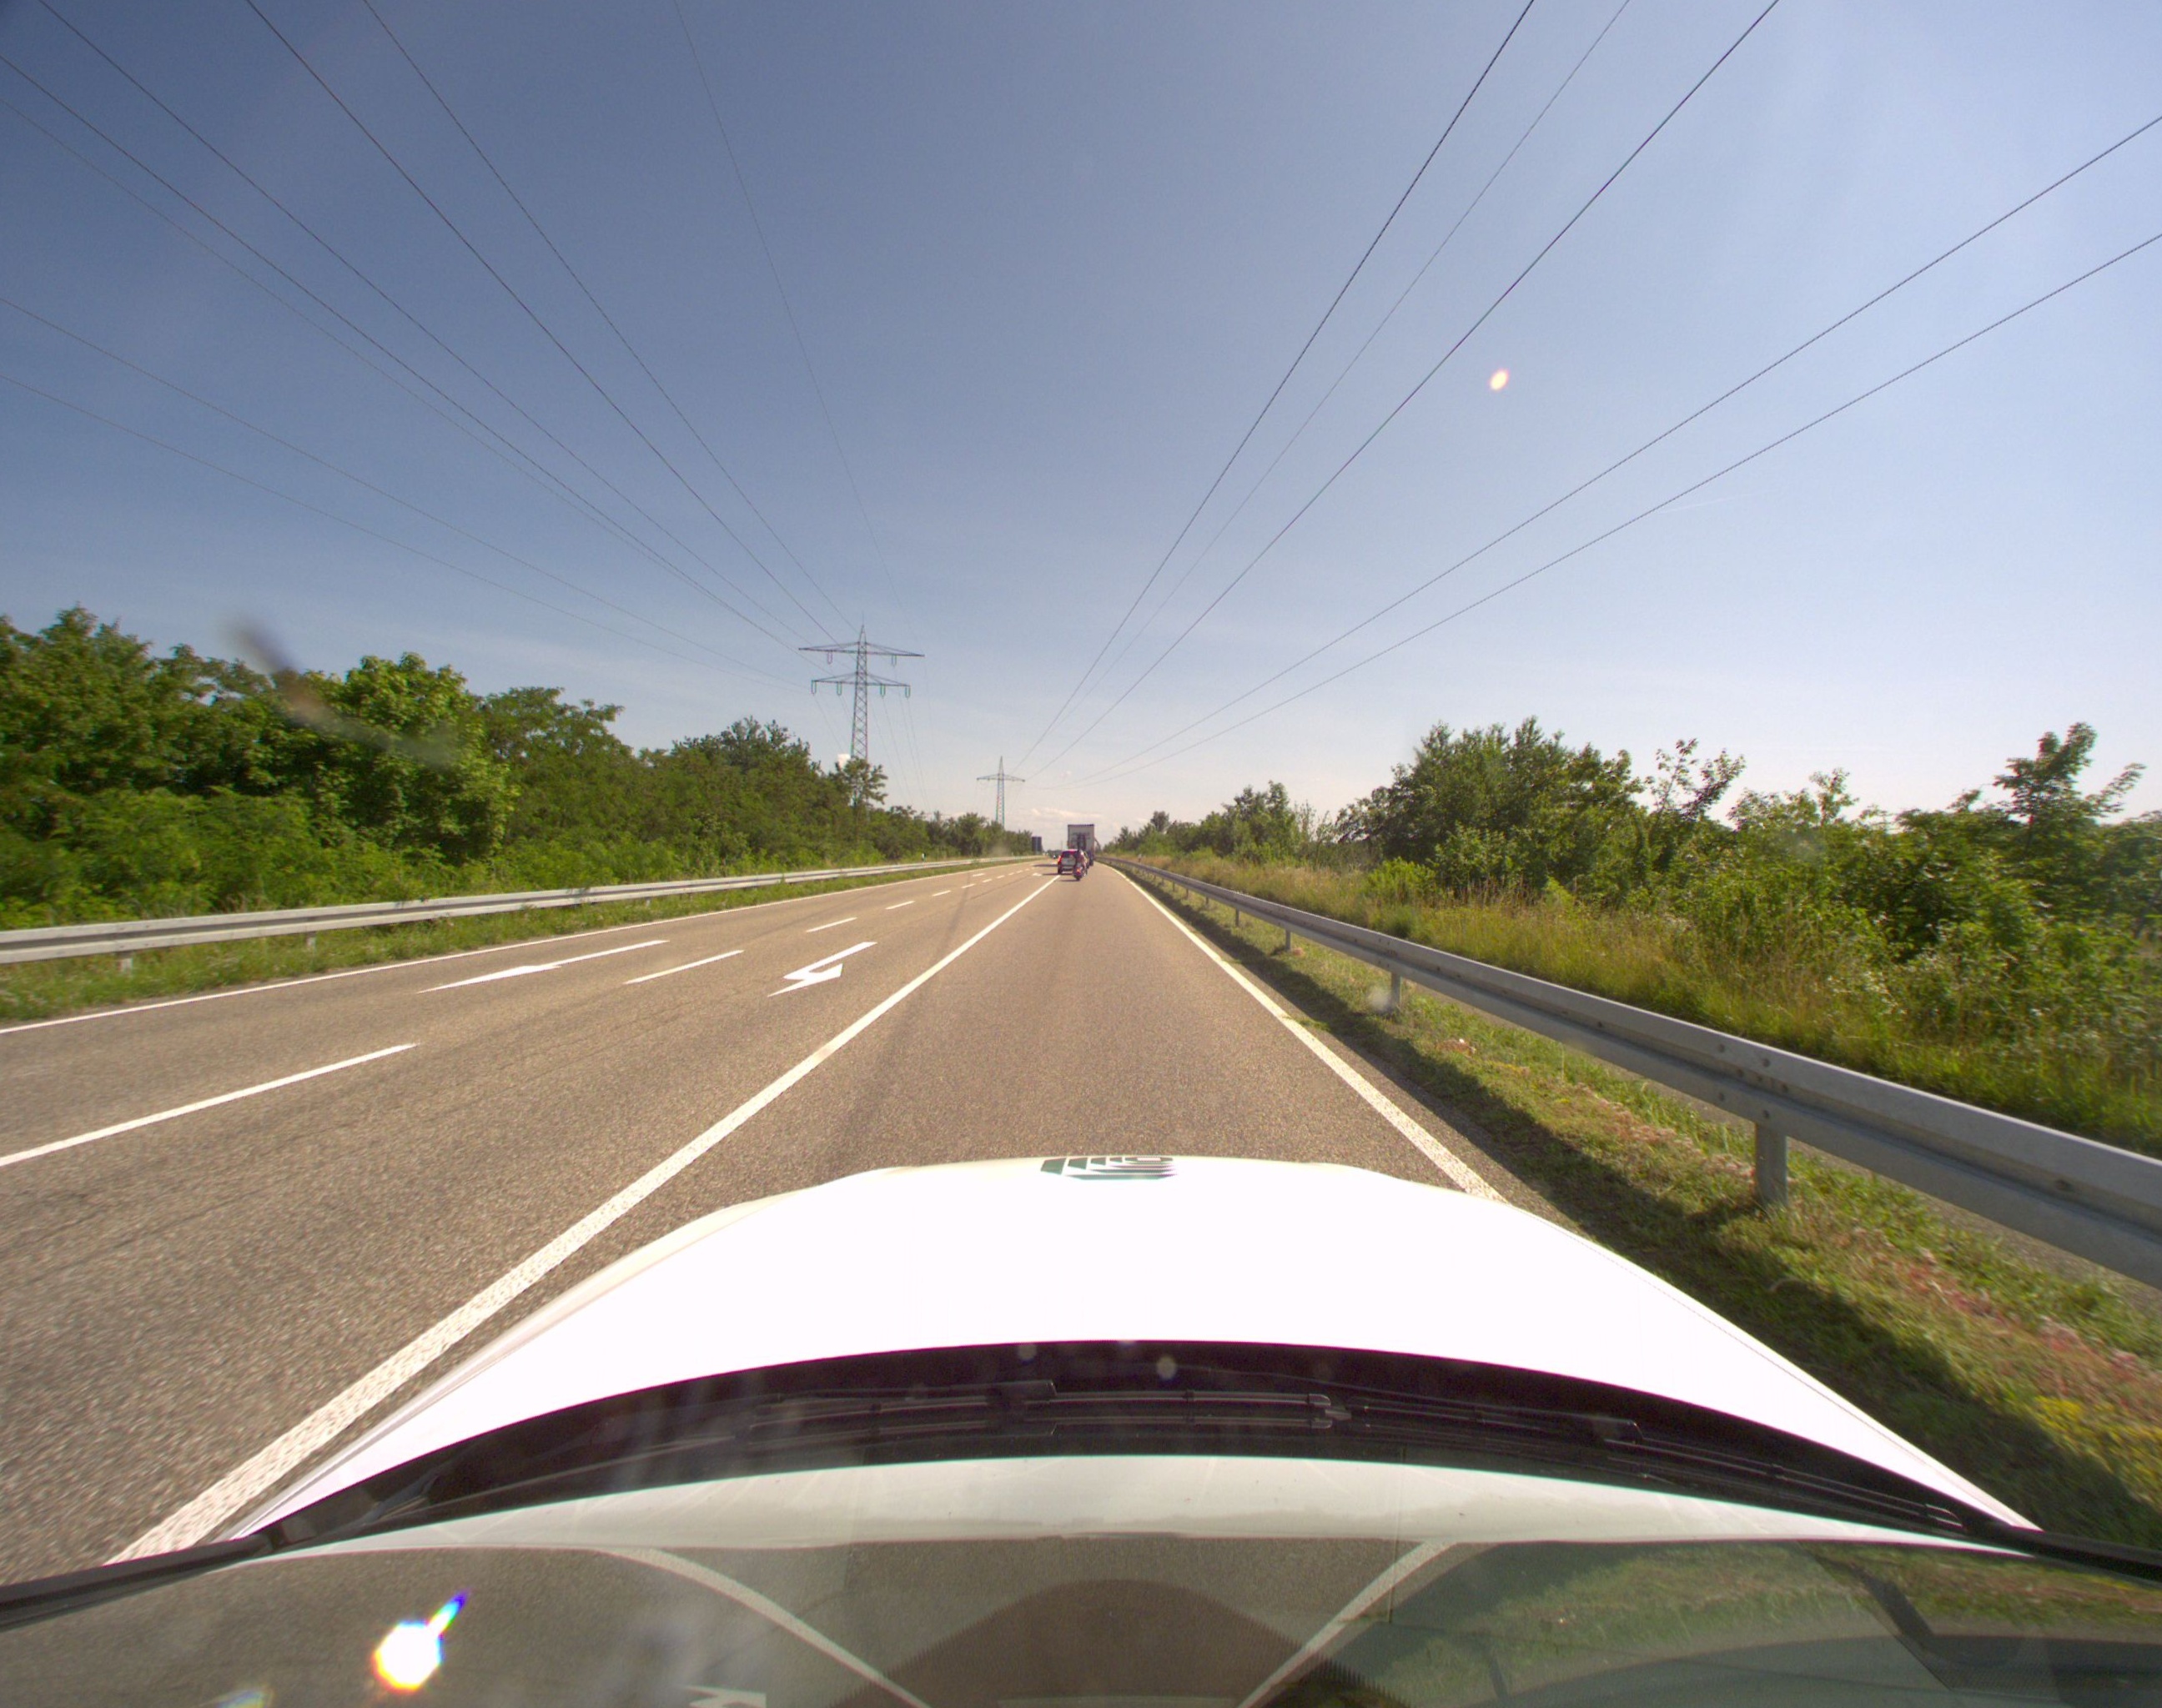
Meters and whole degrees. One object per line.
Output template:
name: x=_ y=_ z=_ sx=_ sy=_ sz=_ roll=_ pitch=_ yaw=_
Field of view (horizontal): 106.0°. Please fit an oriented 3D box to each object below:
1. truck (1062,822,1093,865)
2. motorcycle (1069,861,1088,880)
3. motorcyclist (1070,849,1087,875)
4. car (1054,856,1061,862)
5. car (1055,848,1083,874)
truck: x=-0.244 y=-1.009 z=85.244 sx=2.958 sy=4.187 sz=14.822 roll=0 pitch=0 yaw=1
motorcycle: x=-0.115 y=0.798 z=40.627 sx=0.857 sy=0.915 sz=2.225 roll=0 pitch=0 yaw=-3
motorcyclist: x=-0.117 y=0.394 z=40.716 sx=0.835 sy=1.280 sz=0.918 roll=0 pitch=0 yaw=-3
car: x=-5.688 y=1.129 z=199.227 sx=1.722 sy=1.491 sz=4.421 roll=0 pitch=0 yaw=-1
car: x=-0.734 y=0.411 z=50.893 sx=1.696 sy=1.536 sz=3.498 roll=0 pitch=0 yaw=0
